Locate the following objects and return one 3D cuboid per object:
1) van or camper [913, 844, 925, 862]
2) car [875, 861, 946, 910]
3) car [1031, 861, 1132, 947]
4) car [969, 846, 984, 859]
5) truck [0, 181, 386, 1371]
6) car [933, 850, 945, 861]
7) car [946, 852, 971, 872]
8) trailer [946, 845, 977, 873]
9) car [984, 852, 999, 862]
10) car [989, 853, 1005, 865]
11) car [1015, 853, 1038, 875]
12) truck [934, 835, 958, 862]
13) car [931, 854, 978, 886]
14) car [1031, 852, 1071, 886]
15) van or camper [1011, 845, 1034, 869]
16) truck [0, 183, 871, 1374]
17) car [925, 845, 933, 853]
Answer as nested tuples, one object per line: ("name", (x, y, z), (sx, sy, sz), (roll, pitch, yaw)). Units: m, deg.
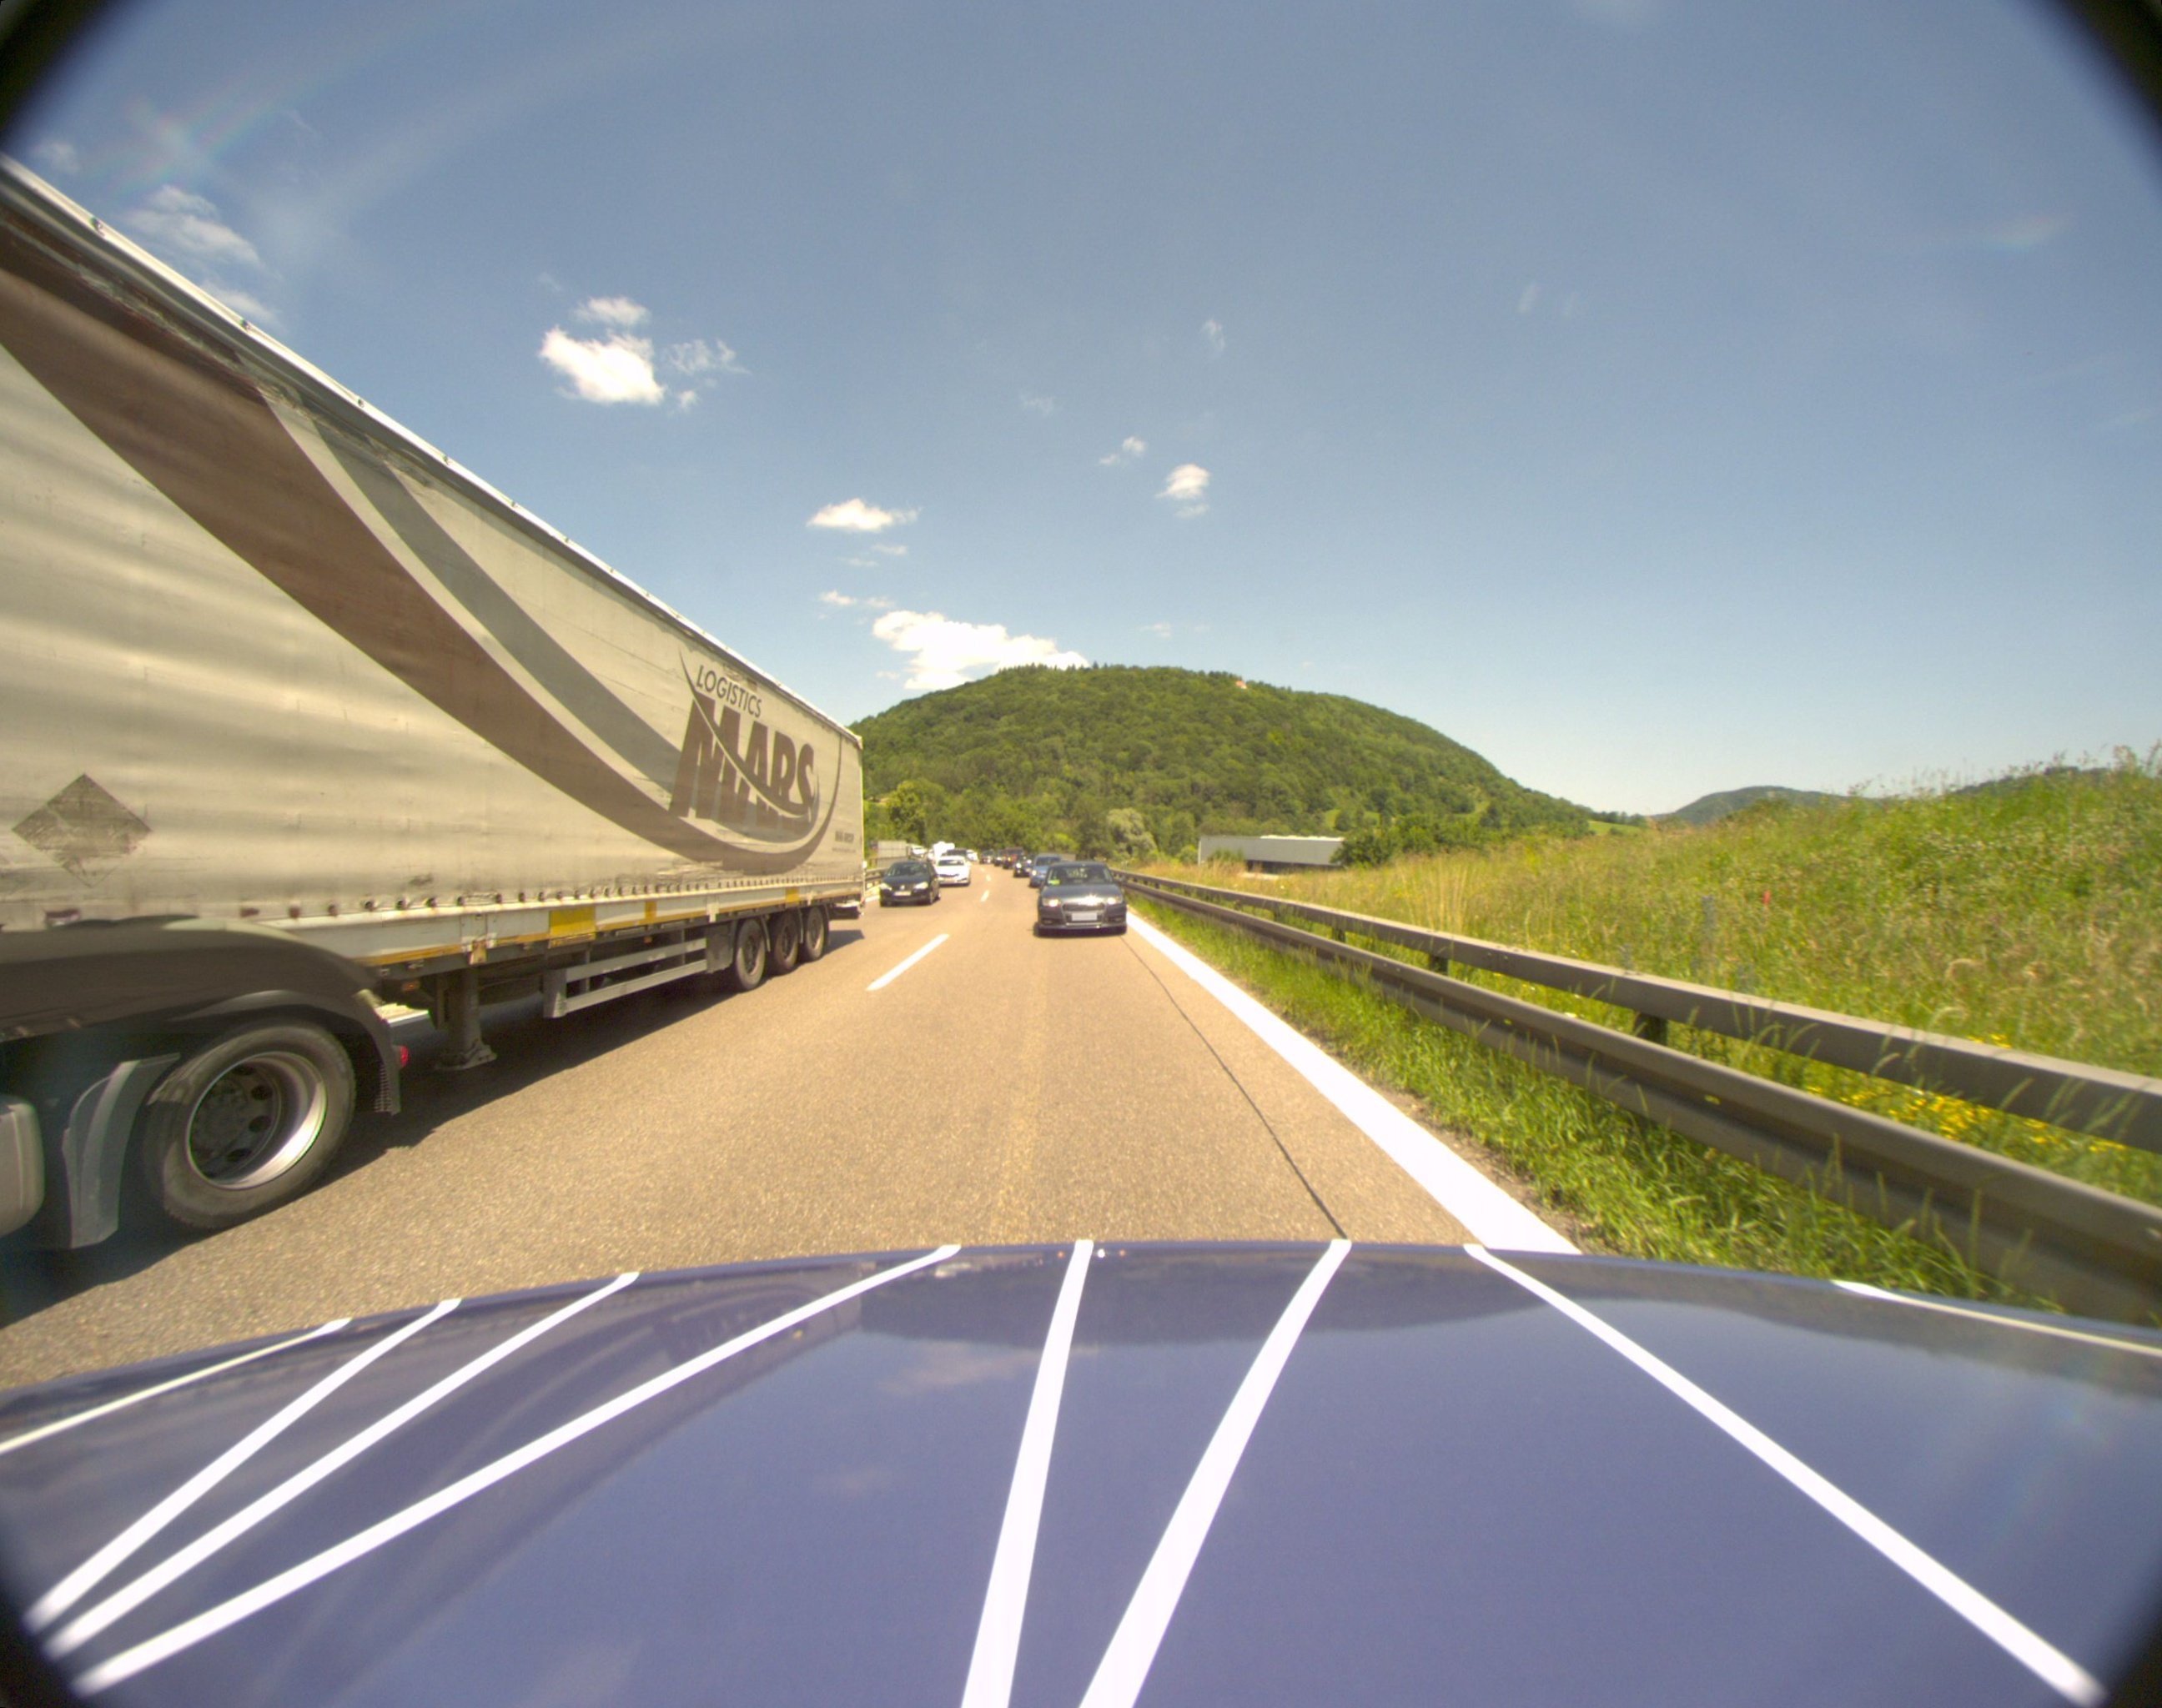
("van or camper", (-28.663, -0.177, 134.371), (1.911, 3.010, 4.868), (-1, 0, -13))
("car", (-5.651, 0.987, 25.573), (1.696, 1.414, 3.837), (-2, 0, -4))
("car", (-0.105, 0.906, 15.553), (1.756, 1.382, 4.053), (-2, 1, -3))
("car", (-14.714, -0.187, 106.859), (1.532, 1.627, 3.414), (-4, 1, -14))
("truck", (-4.961, -0.242, 1.029), (2.726, 4.044, 5.752), (-2, 1, -3))
("car", (-21.241, 0.165, 113.881), (1.700, 1.523, 3.677), (-4, 1, -11))
("car", (-8.669, 0.539, 53.954), (1.489, 1.375, 3.736), (1, 0, -5))
("trailer", (-9.038, 0.336, 57.779), (1.999, 1.958, 3.997), (-3, 1, -6))
("car", (-10.626, 0.349, 90.285), (1.492, 1.102, 3.211), (-2, 1, -10))
("car", (-8.266, 0.464, 74.456), (1.492, 1.102, 3.212), (-2, 1, -7))
("car", (-3.386, 0.584, 47.058), (1.287, 1.305, 3.451), (-2, 0, -6))
("truck", (-16.863, -0.609, 94.581), (2.605, 3.089, 6.851), (-4, 1, -12))
("car", (-6.229, 0.739, 37.743), (1.908, 1.422, 3.720), (-2, 0, -4))
("car", (-1.394, 0.649, 34.456), (1.696, 1.422, 3.461), (-2, 0, -4))
("van or camper", (-4.939, 0.225, 63.616), (1.818, 1.855, 3.611), (-2, 0, -6))
("truck", (-5.283, -0.317, 8.161), (2.733, 4.044, 13.735), (-2, 1, -3))
("car", (-30.495, -0.947, 152.473), (1.246, 1.470, 2.958), (-4, 1, -11))
